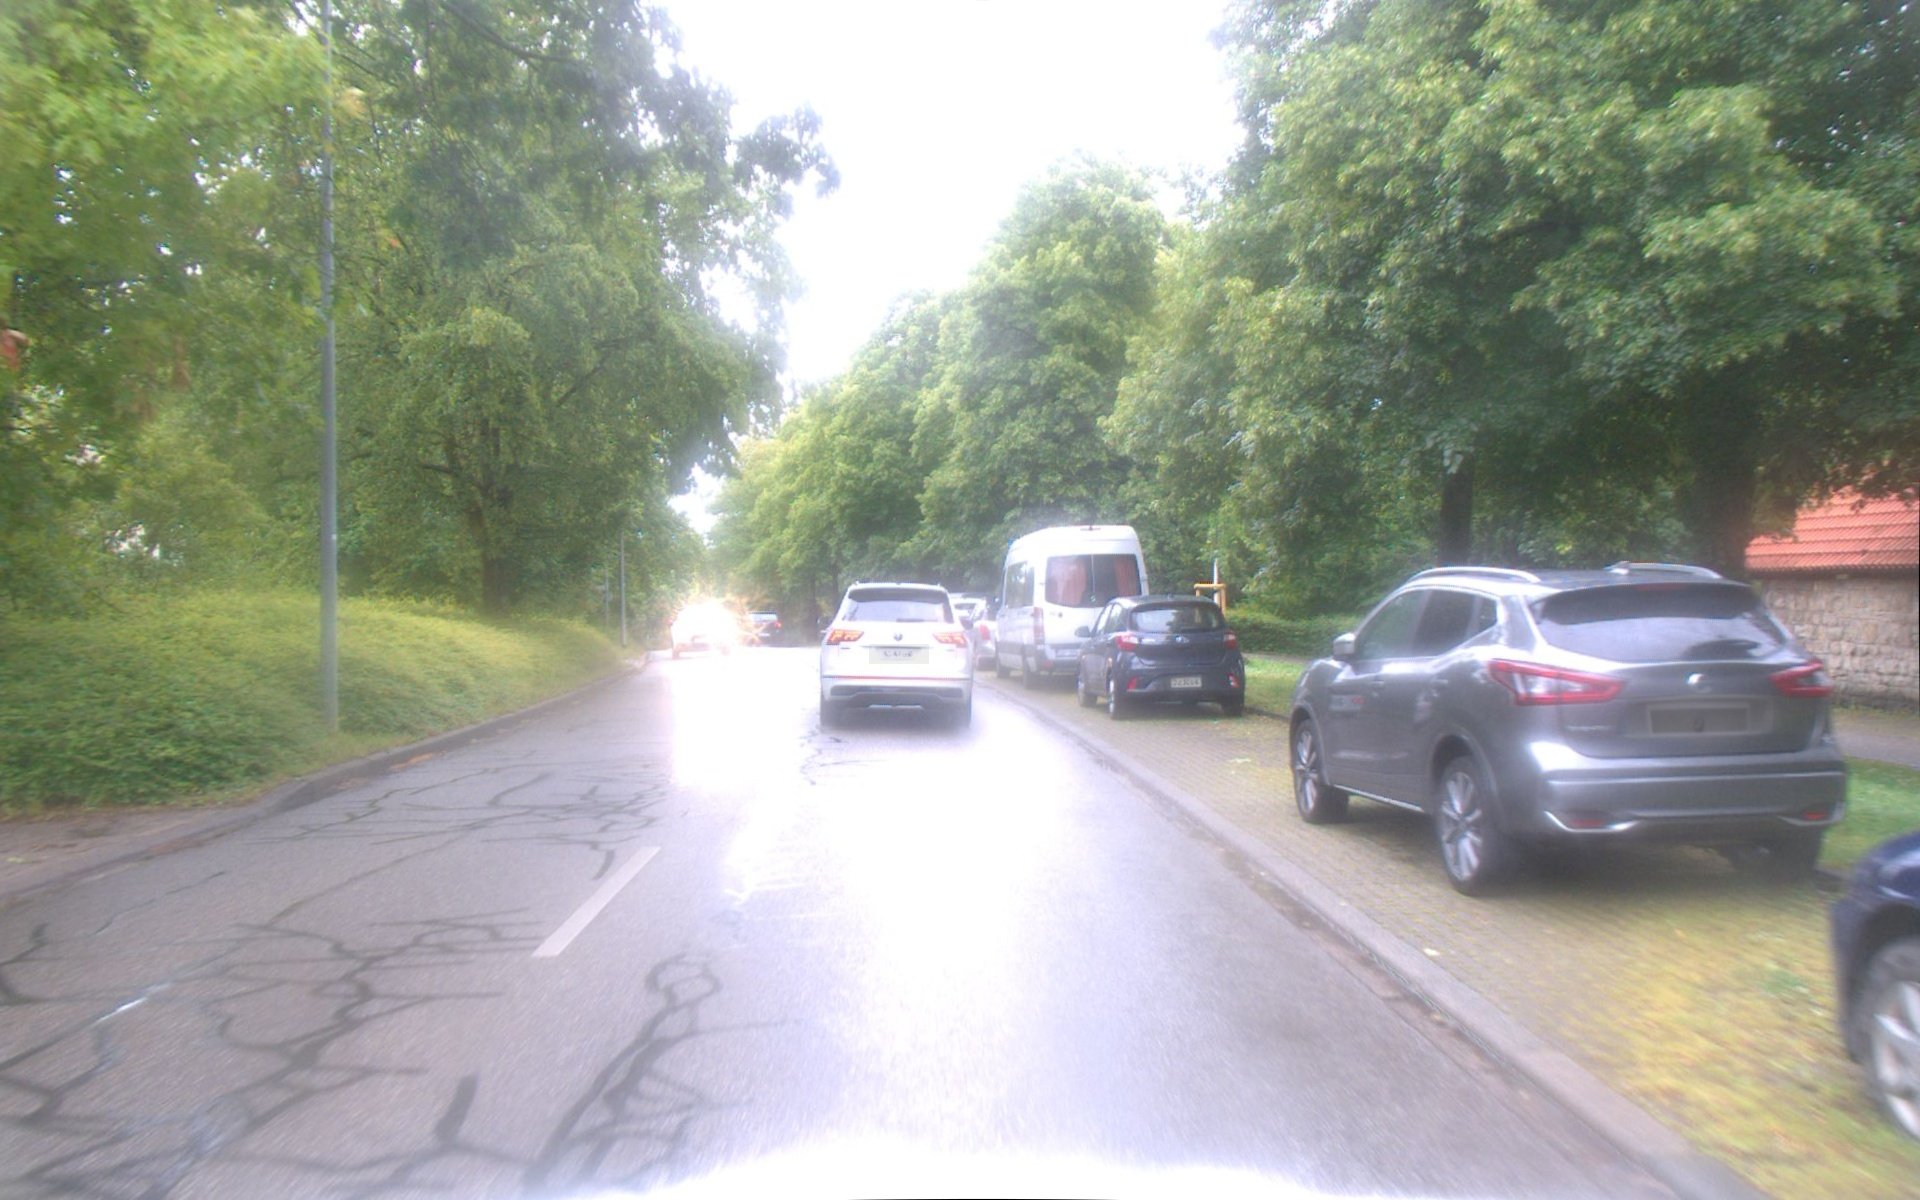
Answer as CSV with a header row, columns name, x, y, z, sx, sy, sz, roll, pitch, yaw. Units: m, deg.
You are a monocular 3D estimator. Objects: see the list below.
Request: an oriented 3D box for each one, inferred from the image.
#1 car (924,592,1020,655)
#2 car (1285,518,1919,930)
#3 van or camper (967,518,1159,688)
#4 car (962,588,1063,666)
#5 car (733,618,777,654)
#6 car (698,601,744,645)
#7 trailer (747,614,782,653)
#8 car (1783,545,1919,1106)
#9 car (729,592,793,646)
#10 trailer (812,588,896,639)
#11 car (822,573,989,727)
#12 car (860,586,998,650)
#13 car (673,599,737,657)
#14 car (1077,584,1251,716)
name,x,y,z,sx,sy,sz,roll,pitch,yaw
car,0.255,0.568,43.281,1.955,1.523,4.560,-1,0,-7
car,3.250,0.511,9.384,1.746,1.749,4.259,-2,1,-3
van or camper,1.634,-0.020,30.127,1.977,2.628,8.424,1,1,-7
car,1.102,0.552,36.775,1.770,1.566,4.263,-2,0,-4
car,-12.511,2.217,100.721,1.960,1.943,5.486,-1,-3,-15
car,-12.122,1.153,83.739,1.959,2.048,3.987,-1,2,-13
trailer,-11.377,1.972,96.079,1.504,2.112,3.985,-2,-3,-13
car,3.360,0.583,3.004,1.707,1.477,4.000,-2,1,0
car,-8.312,0.751,68.810,1.962,2.048,3.982,-1,2,-17
trailer,-4.248,0.577,65.404,2.407,1.844,5.872,-1,-2,-12
car,-0.728,0.549,20.666,1.867,1.715,4.198,0,0,-3
car,-0.931,0.528,48.388,3.933,1.710,1.603,-3,-1,40
car,-7.424,0.786,48.380,1.634,1.503,3.727,-3,1,-6
car,2.592,0.589,21.808,1.827,1.537,3.725,-1,1,0
